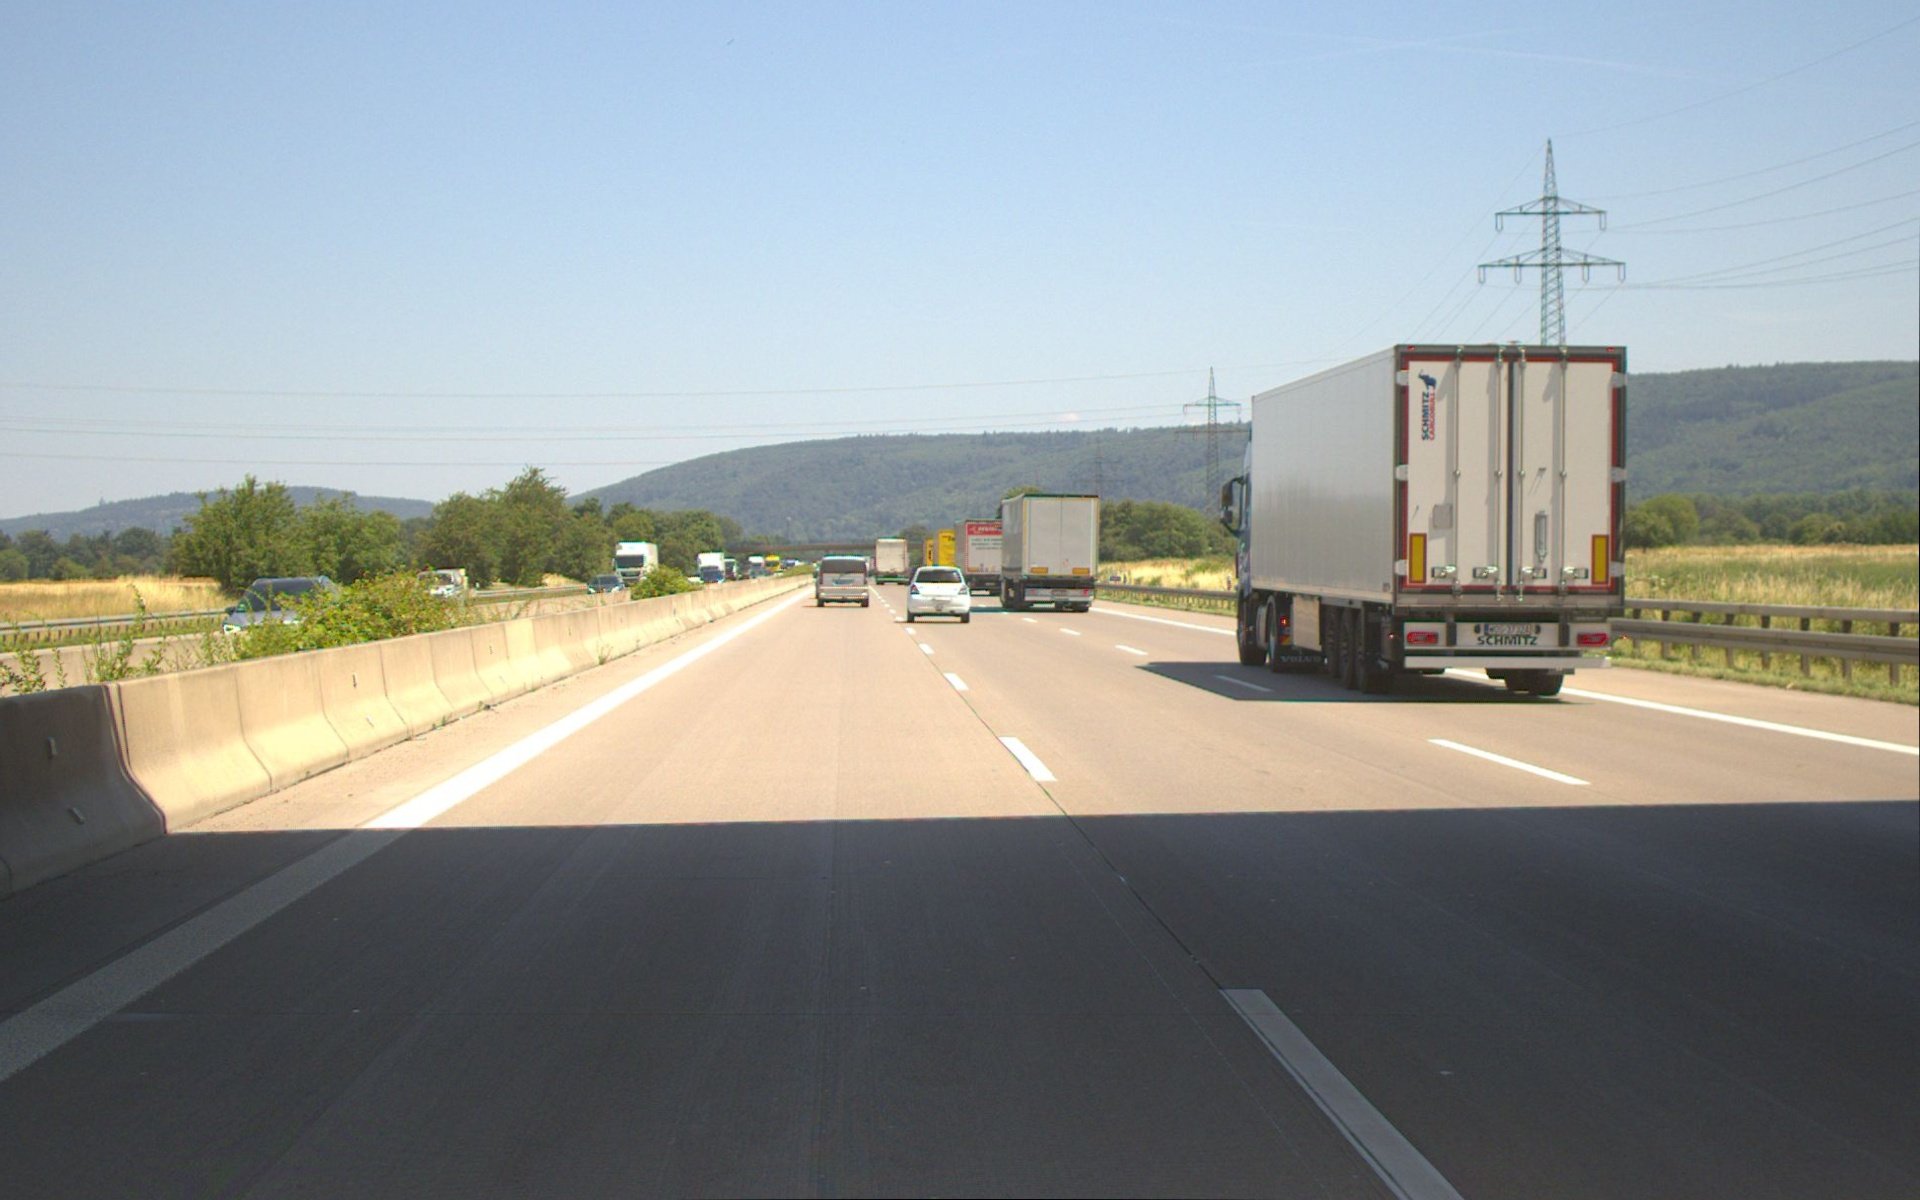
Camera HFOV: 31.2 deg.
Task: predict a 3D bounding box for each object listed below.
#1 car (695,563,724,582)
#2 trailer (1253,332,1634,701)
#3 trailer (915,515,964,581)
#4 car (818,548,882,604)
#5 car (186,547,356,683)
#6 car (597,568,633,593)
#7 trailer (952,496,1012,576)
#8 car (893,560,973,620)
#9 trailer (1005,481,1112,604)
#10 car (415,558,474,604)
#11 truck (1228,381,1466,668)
[{"bbox_3d":[-17.271,-1.887,236.941,1.771,1.236,4.677,1,1,-2],"label":"car"},{"bbox_3d":[5.903,-1.000,44.489,2.708,4.030,12.903,1,1,-2],"label":"trailer"},{"bbox_3d":[-1.520,-3.721,248.085,3.216,4.548,13.457,1,1,-1],"label":"trailer"},{"bbox_3d":[-4.077,-0.896,128.118,2.254,2.007,4.298,1,1,-1],"label":"car"},{"bbox_3d":[-10.663,0.202,53.443,1.838,2.007,4.000,1,1,0],"label":"car"},{"bbox_3d":[-19.363,-1.085,193.083,1.712,1.355,5.044,1,1,-2],"label":"car"},{"bbox_3d":[1.135,-3.420,185.948,2.873,4.086,13.513,1,1,-1],"label":"trailer"},{"bbox_3d":[-0.733,-0.287,93.366,2.107,1.530,4.122,1,1,0],"label":"car"},{"bbox_3d":[3.377,-2.014,121.993,3.018,4.047,14.208,1,1,-1],"label":"trailer"},{"bbox_3d":[-22.555,-0.864,150.499,1.865,1.937,5.566,1,1,-2],"label":"car"},{"bbox_3d":[5.712,-1.101,51.602,2.750,4.030,5.466,1,1,-2],"label":"truck"}]
